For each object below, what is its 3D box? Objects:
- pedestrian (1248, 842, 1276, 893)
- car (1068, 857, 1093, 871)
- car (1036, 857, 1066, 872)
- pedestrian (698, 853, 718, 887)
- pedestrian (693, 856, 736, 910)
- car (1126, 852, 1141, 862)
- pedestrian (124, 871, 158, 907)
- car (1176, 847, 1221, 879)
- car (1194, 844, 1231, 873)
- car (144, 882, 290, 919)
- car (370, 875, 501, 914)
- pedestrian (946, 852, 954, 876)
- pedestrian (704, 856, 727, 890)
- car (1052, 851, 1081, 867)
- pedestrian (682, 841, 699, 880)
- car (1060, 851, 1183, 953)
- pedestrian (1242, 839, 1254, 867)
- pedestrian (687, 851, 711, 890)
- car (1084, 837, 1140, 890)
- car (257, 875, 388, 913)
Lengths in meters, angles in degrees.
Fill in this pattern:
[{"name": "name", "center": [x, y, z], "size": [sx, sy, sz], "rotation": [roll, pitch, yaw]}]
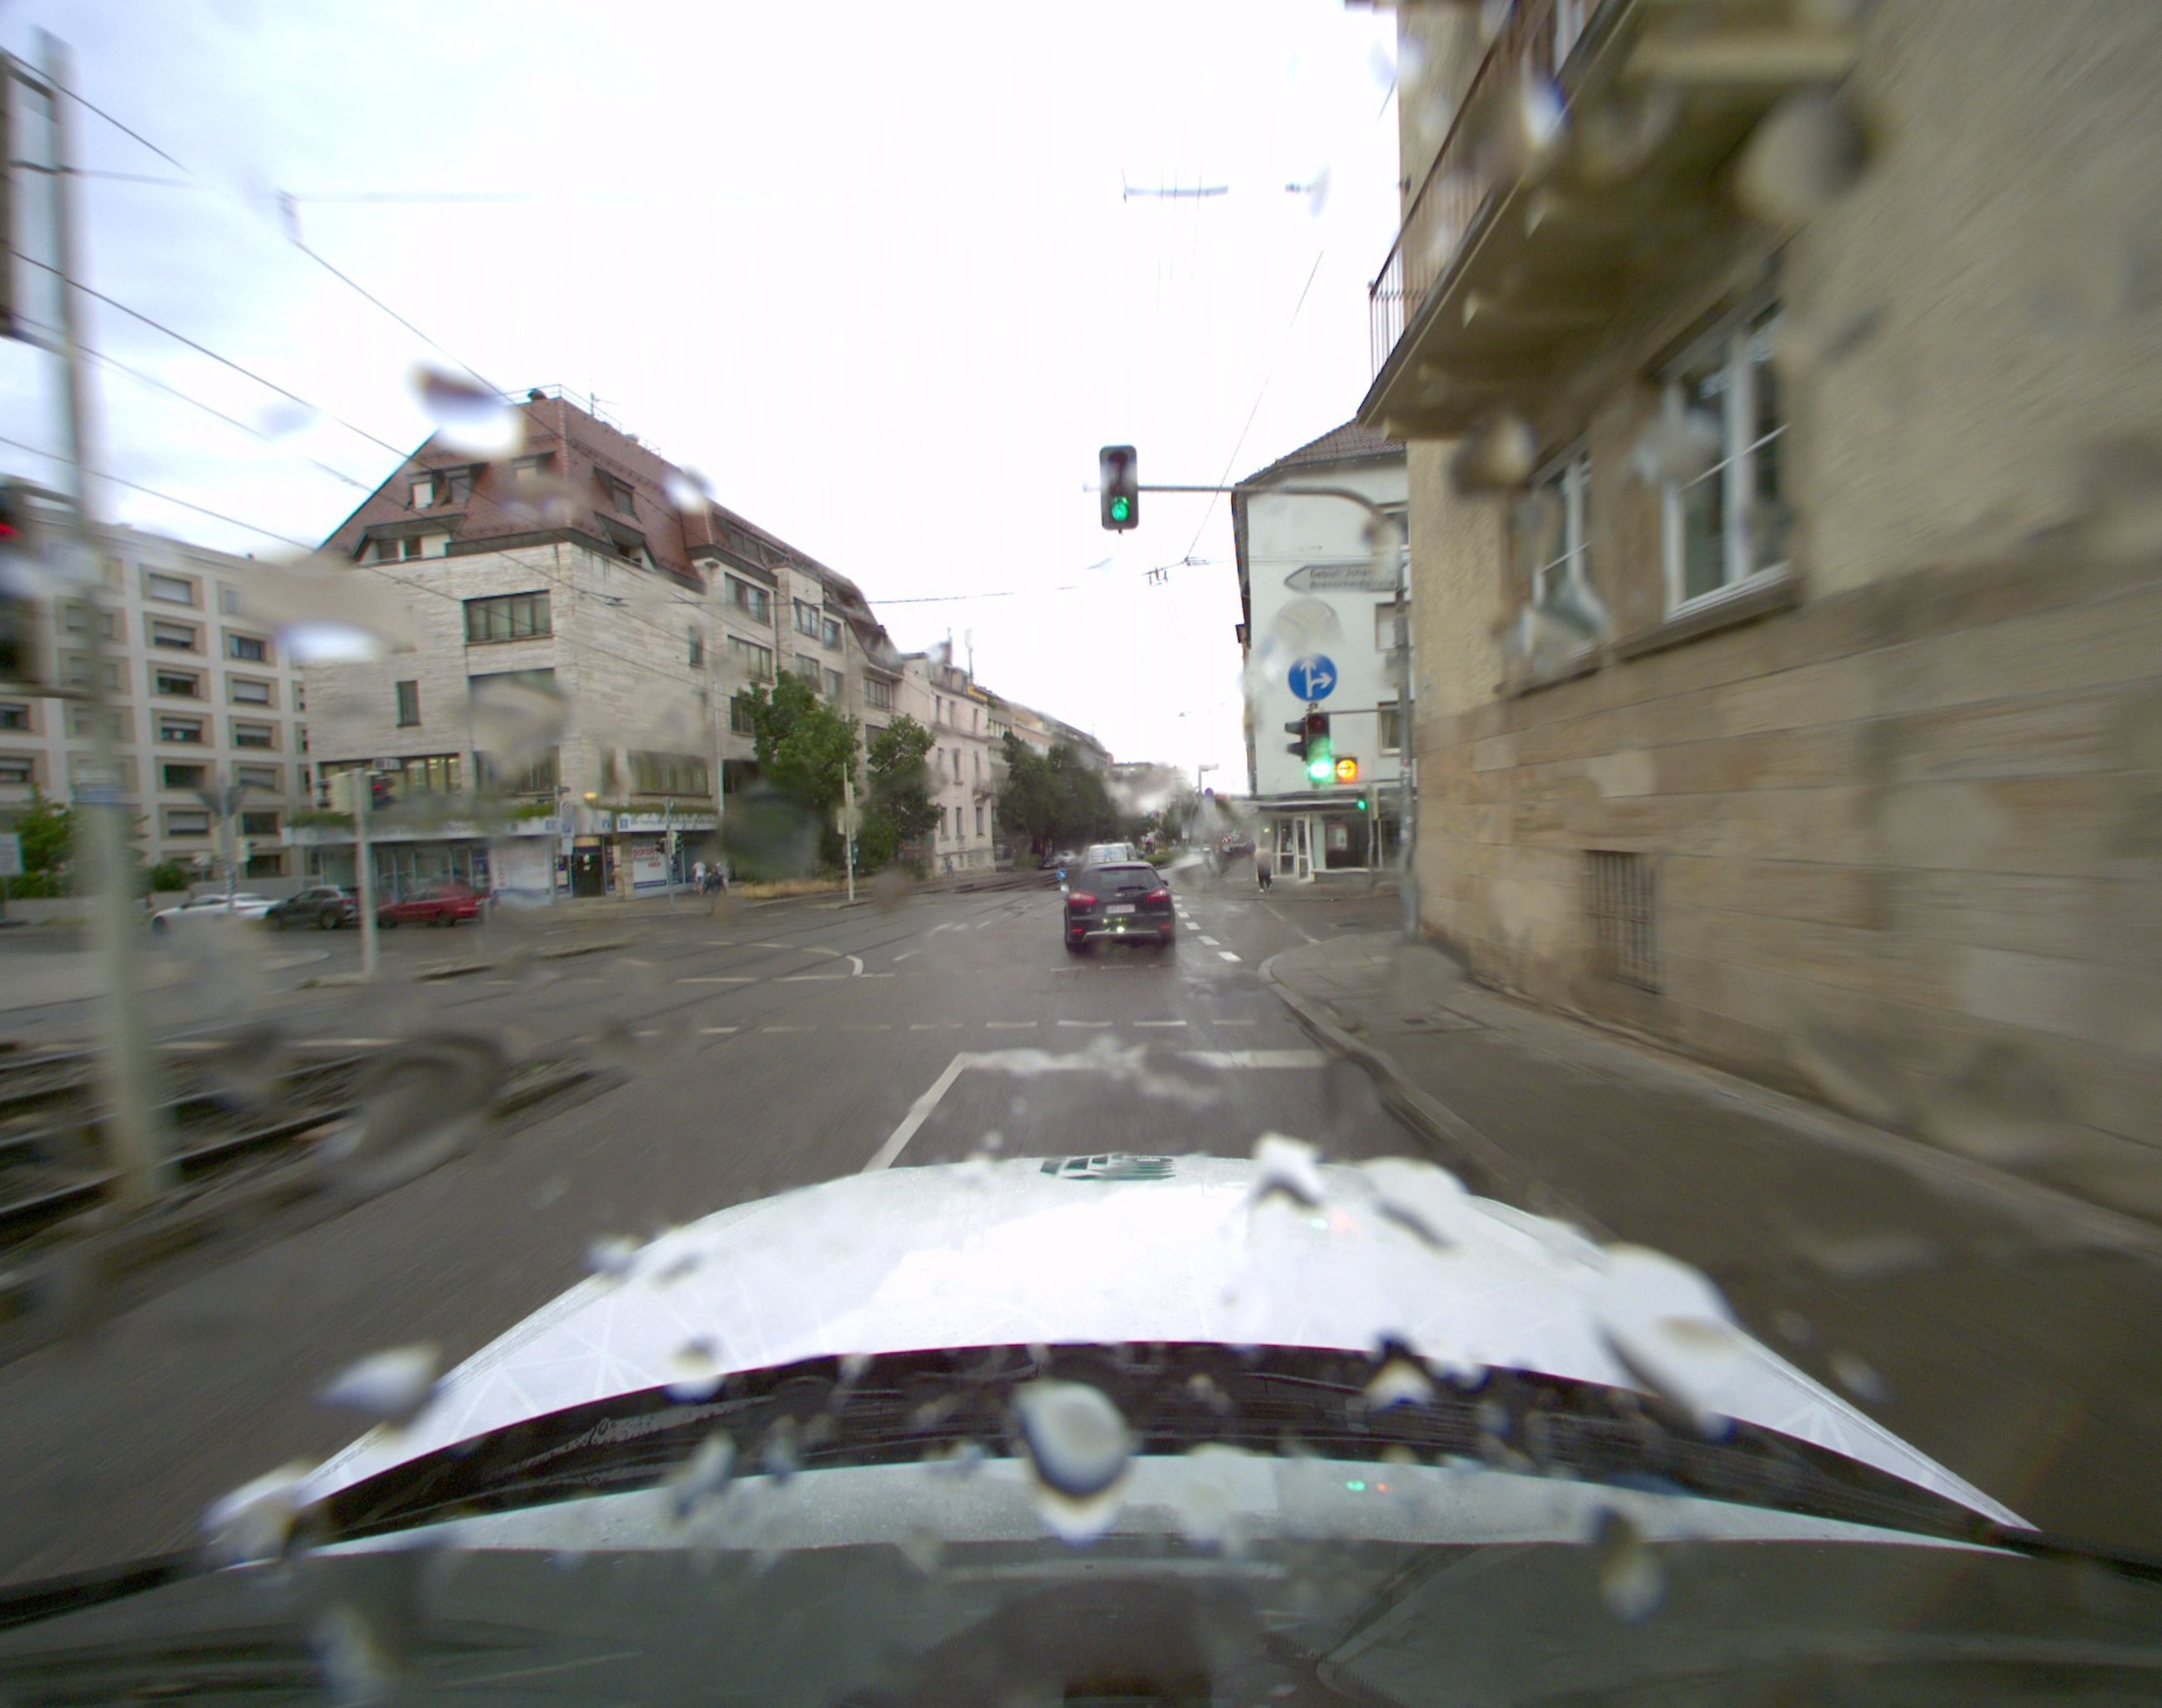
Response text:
[{"name": "pedestrian", "center": [5.651, 0.426, 25.444], "size": [0.685, 1.572, 0.763], "rotation": [-1, -1, 1]}, {"name": "car", "center": [-0.010, 1.163, 91.427], "size": [1.842, 1.549, 4.446], "rotation": [0, -1, 13]}, {"name": "car", "center": [-2.893, 1.003, 79.073], "size": [1.682, 1.378, 4.737], "rotation": [0, -2, 13]}, {"name": "pedestrian", "center": [-17.446, 0.750, 38.104], "size": [0.500, 1.598, 0.587], "rotation": [2, -1, 11]}, {"name": "pedestrian", "center": [-12.793, 1.019, 28.472], "size": [0.926, 1.830, 0.960], "rotation": [2, -1, 4]}, {"name": "car", "center": [8.459, 0.525, 130.802], "size": [1.683, 1.574, 4.060], "rotation": [0, -1, 13]}, {"name": "pedestrian", "center": [-41.672, 1.562, 36.116], "size": [0.677, 1.549, 0.651], "rotation": [2, -1, 11]}, {"name": "car", "center": [5.973, 0.476, 41.060], "size": [1.789, 1.456, 4.602], "rotation": [-2, -1, 13]}, {"name": "car", "center": [7.742, 0.279, 47.737], "size": [1.832, 1.632, 4.602], "rotation": [0, -1, 13]}, {"name": "car", "center": [-32.387, 1.718, 30.558], "size": [4.458, 1.318, 1.599], "rotation": [0, -2, 11]}, {"name": "car", "center": [-22.778, 1.406, 28.769], "size": [3.669, 1.318, 1.599], "rotation": [0, -2, 11]}, {"name": "pedestrian", "center": [-9.449, 0.724, 58.752], "size": [0.466, 1.652, 0.582], "rotation": [2, -1, 1]}, {"name": "pedestrian", "center": [-16.761, 0.863, 37.366], "size": [0.643, 1.549, 0.686], "rotation": [2, -1, 11]}, {"name": "car", "center": [-1.478, 0.540, 85.191], "size": [1.842, 1.549, 4.737], "rotation": [0, -1, 13]}, {"name": "pedestrian", "center": [-18.774, 0.311, 39.132], "size": [0.651, 1.842, 0.678], "rotation": [3, -2, -25]}, {"name": "car", "center": [0.704, 0.769, 14.331], "size": [1.835, 1.507, 4.002], "rotation": [-1, -1, 2]}, {"name": "pedestrian", "center": [11.556, -0.070, 56.307], "size": [0.698, 1.819, 0.965], "rotation": [-3, 0, 13]}, {"name": "pedestrian", "center": [-17.526, 0.754, 37.338], "size": [0.643, 1.724, 0.686], "rotation": [2, -1, 11]}, {"name": "car", "center": [1.363, 0.345, 33.882], "size": [1.978, 2.060, 4.653], "rotation": [-1, 0, 6]}, {"name": "car", "center": [-27.611, 1.438, 29.672], "size": [3.669, 1.318, 1.599], "rotation": [0, -2, 11]}]
